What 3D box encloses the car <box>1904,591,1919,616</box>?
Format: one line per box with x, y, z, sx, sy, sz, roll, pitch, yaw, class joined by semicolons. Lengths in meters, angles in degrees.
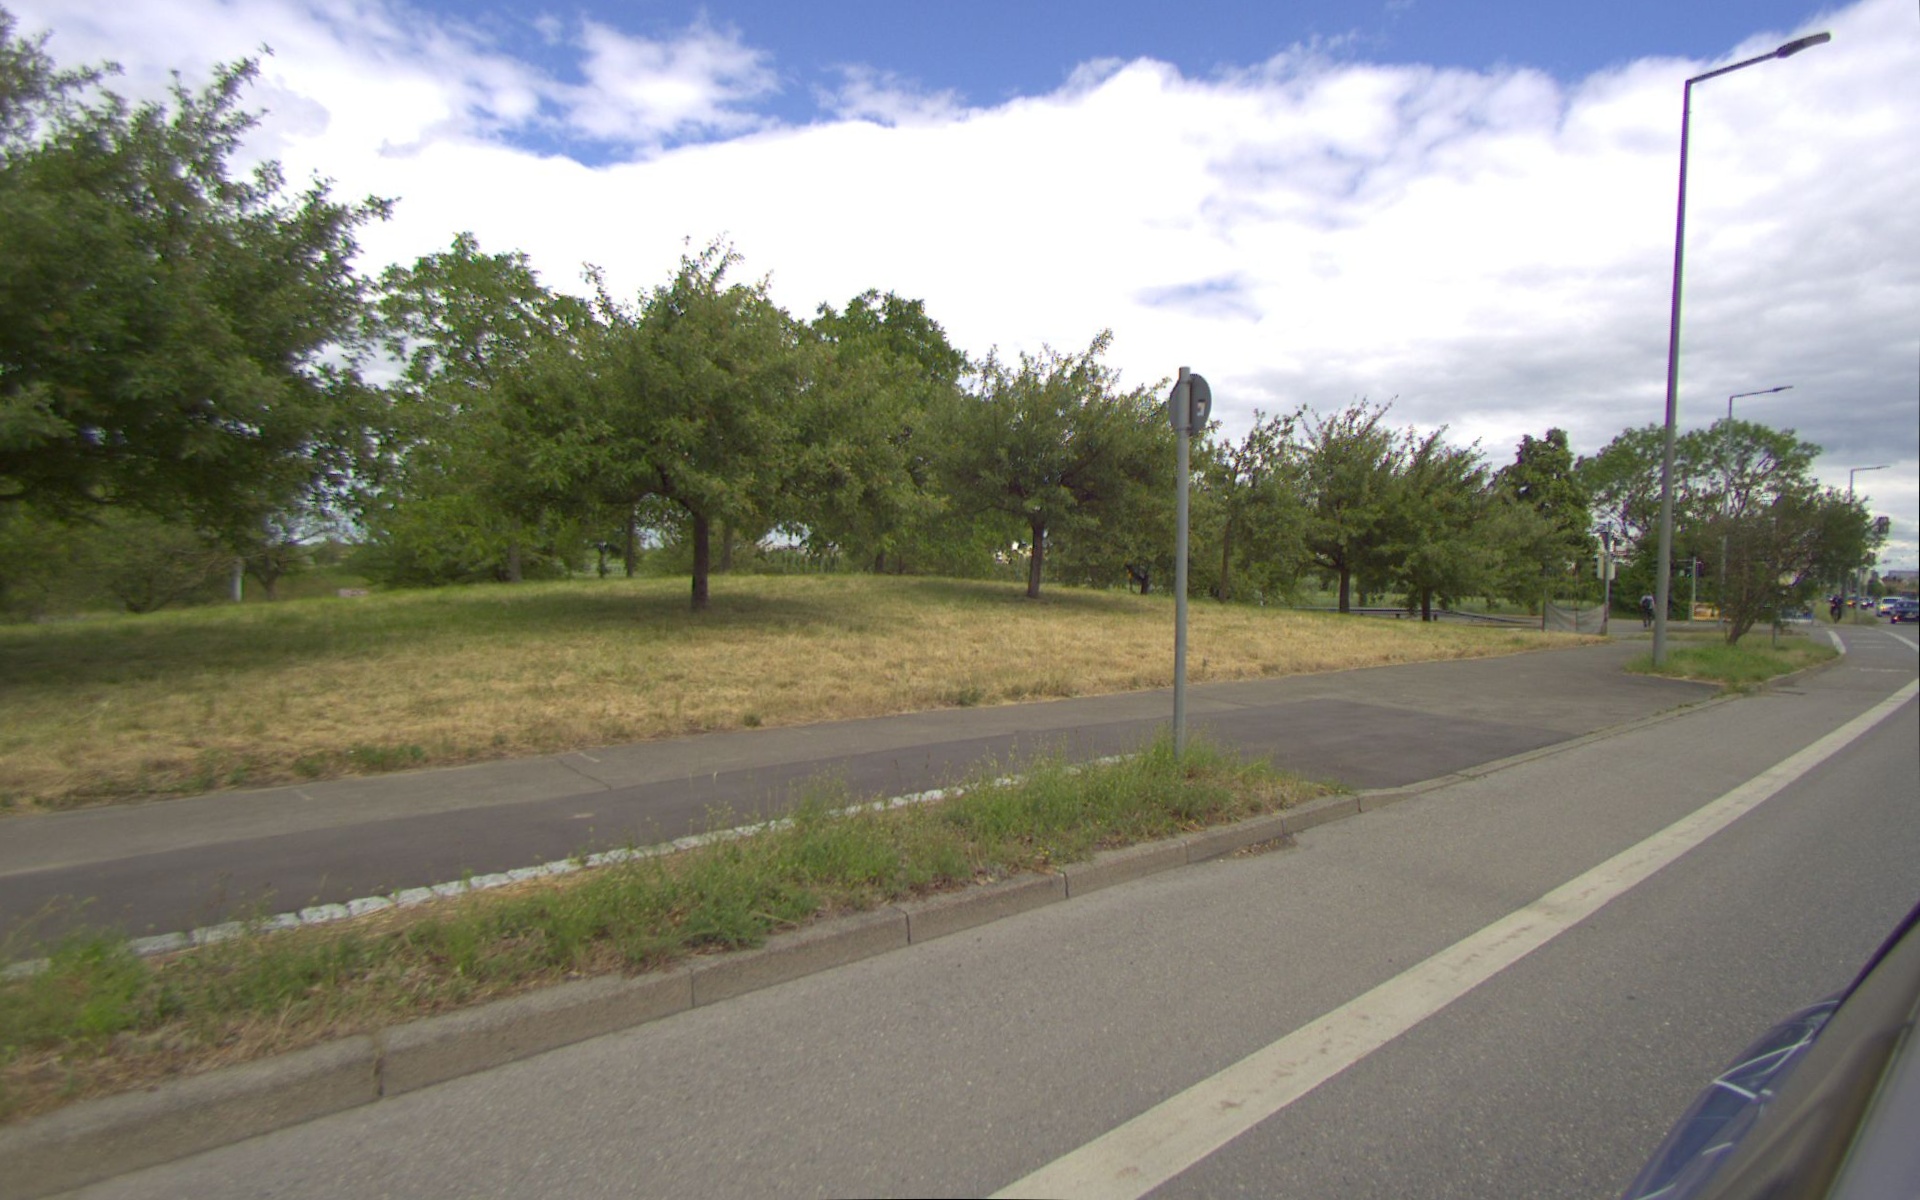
58.633;0.224;61.563;1.731;1.459;4.299;1;1;44;car

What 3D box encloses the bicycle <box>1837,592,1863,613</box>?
51.915;0.136;59.070;1.013;1.148;2.638;3;2;39;bicycle

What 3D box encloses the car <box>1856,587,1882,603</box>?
99.497;-0.527;110.818;1.864;1.716;4.310;1;1;38;car

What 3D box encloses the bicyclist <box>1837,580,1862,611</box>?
51.960;-0.273;59.131;1.013;1.729;1.184;3;2;40;bicyclist

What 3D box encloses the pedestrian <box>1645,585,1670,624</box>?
34.683;0.229;50.329;0.784;1.907;0.767;0;0;-27;pedestrian

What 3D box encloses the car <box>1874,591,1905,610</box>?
73.423;0.049;79.937;1.731;1.459;4.299;1;1;44;car
